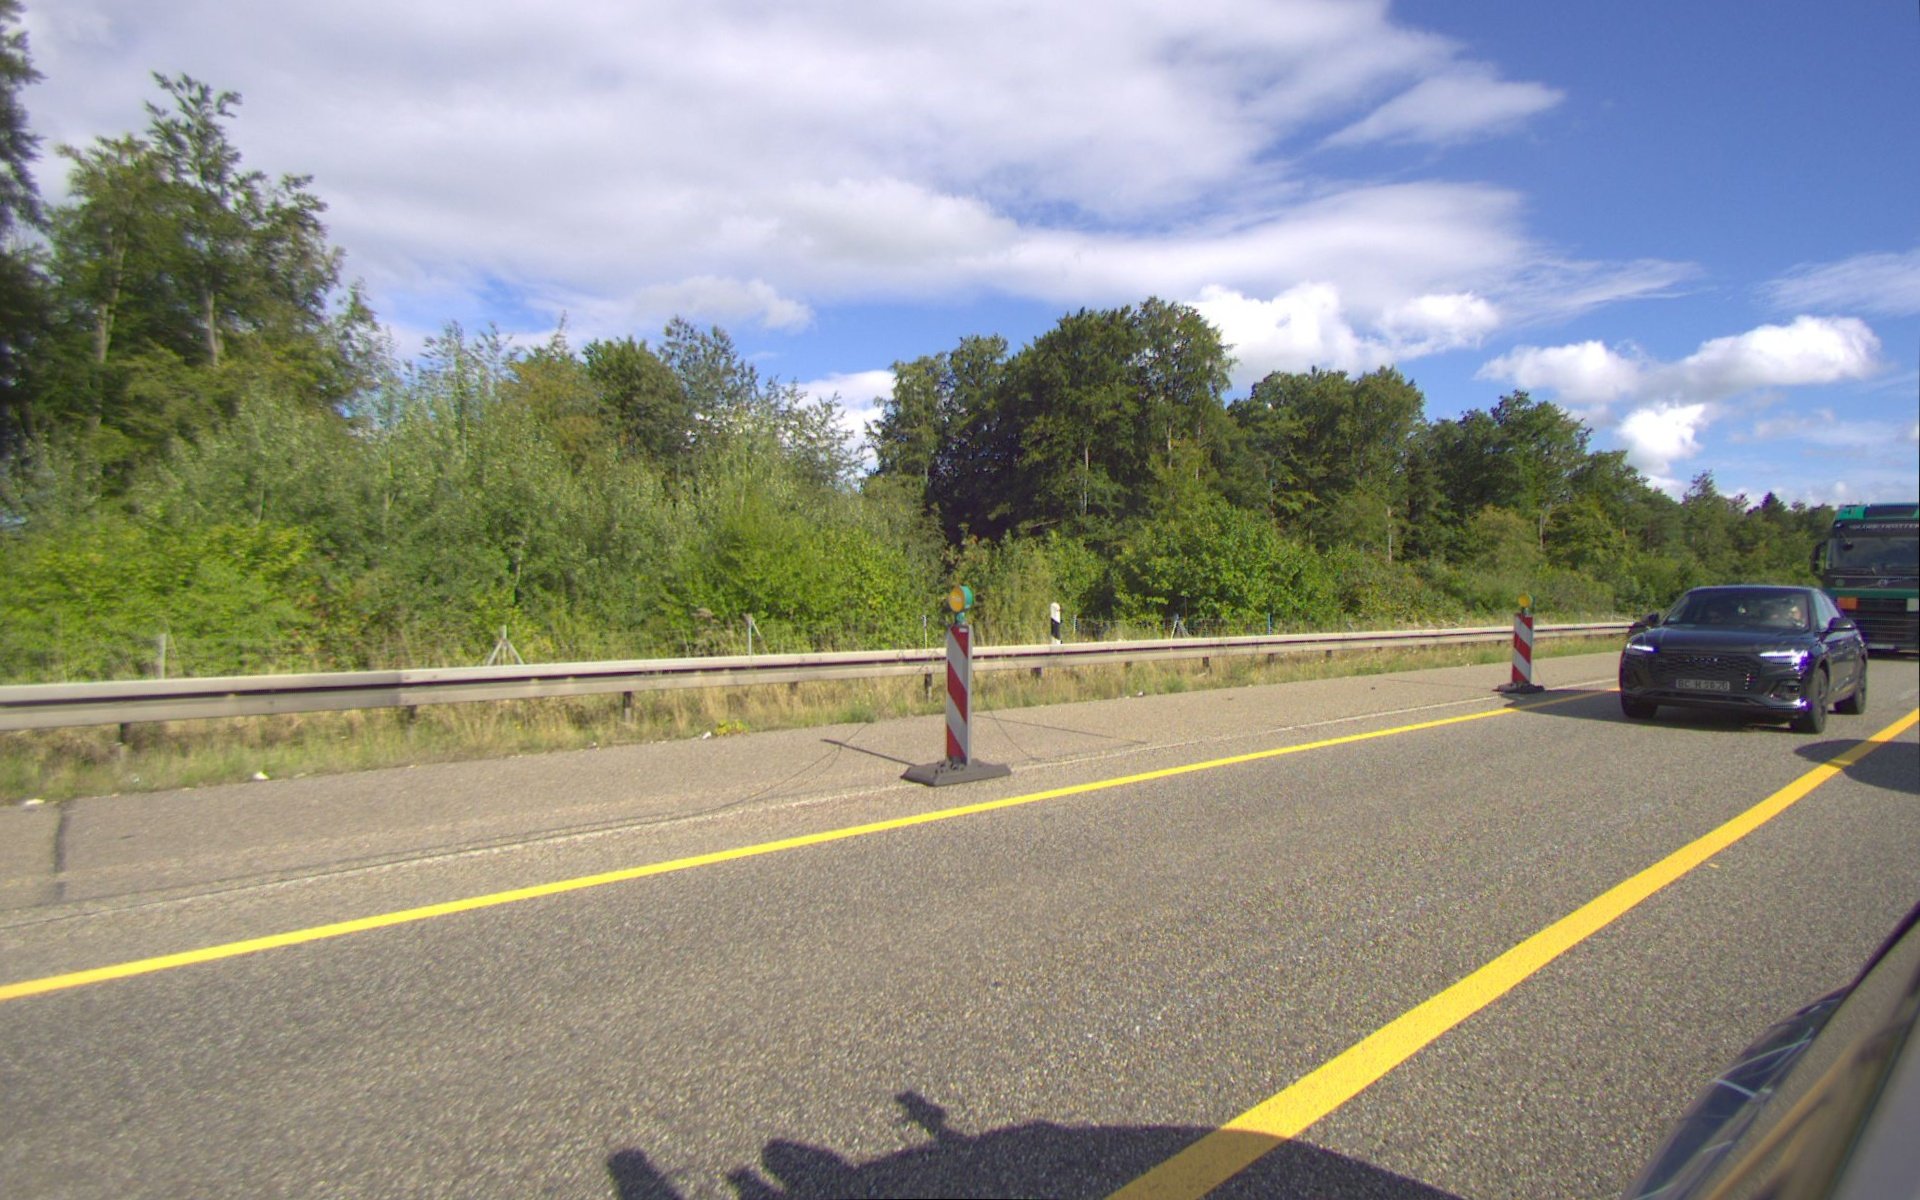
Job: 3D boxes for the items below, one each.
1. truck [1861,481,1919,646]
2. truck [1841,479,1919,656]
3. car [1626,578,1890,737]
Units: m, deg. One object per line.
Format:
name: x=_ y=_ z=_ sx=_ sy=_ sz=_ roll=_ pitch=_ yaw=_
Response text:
truck: x=29.798 y=-0.915 z=30.351 sx=13.962 sy=4.196 sz=2.468 roll=0 pitch=0 yaw=-41
truck: x=25.007 y=-0.809 z=26.135 sx=6.737 sy=4.151 sz=2.526 roll=-1 pitch=0 yaw=-41
car: x=9.828 y=0.556 z=12.352 sx=4.219 sy=1.622 sz=1.781 roll=-1 pitch=1 yaw=-41
